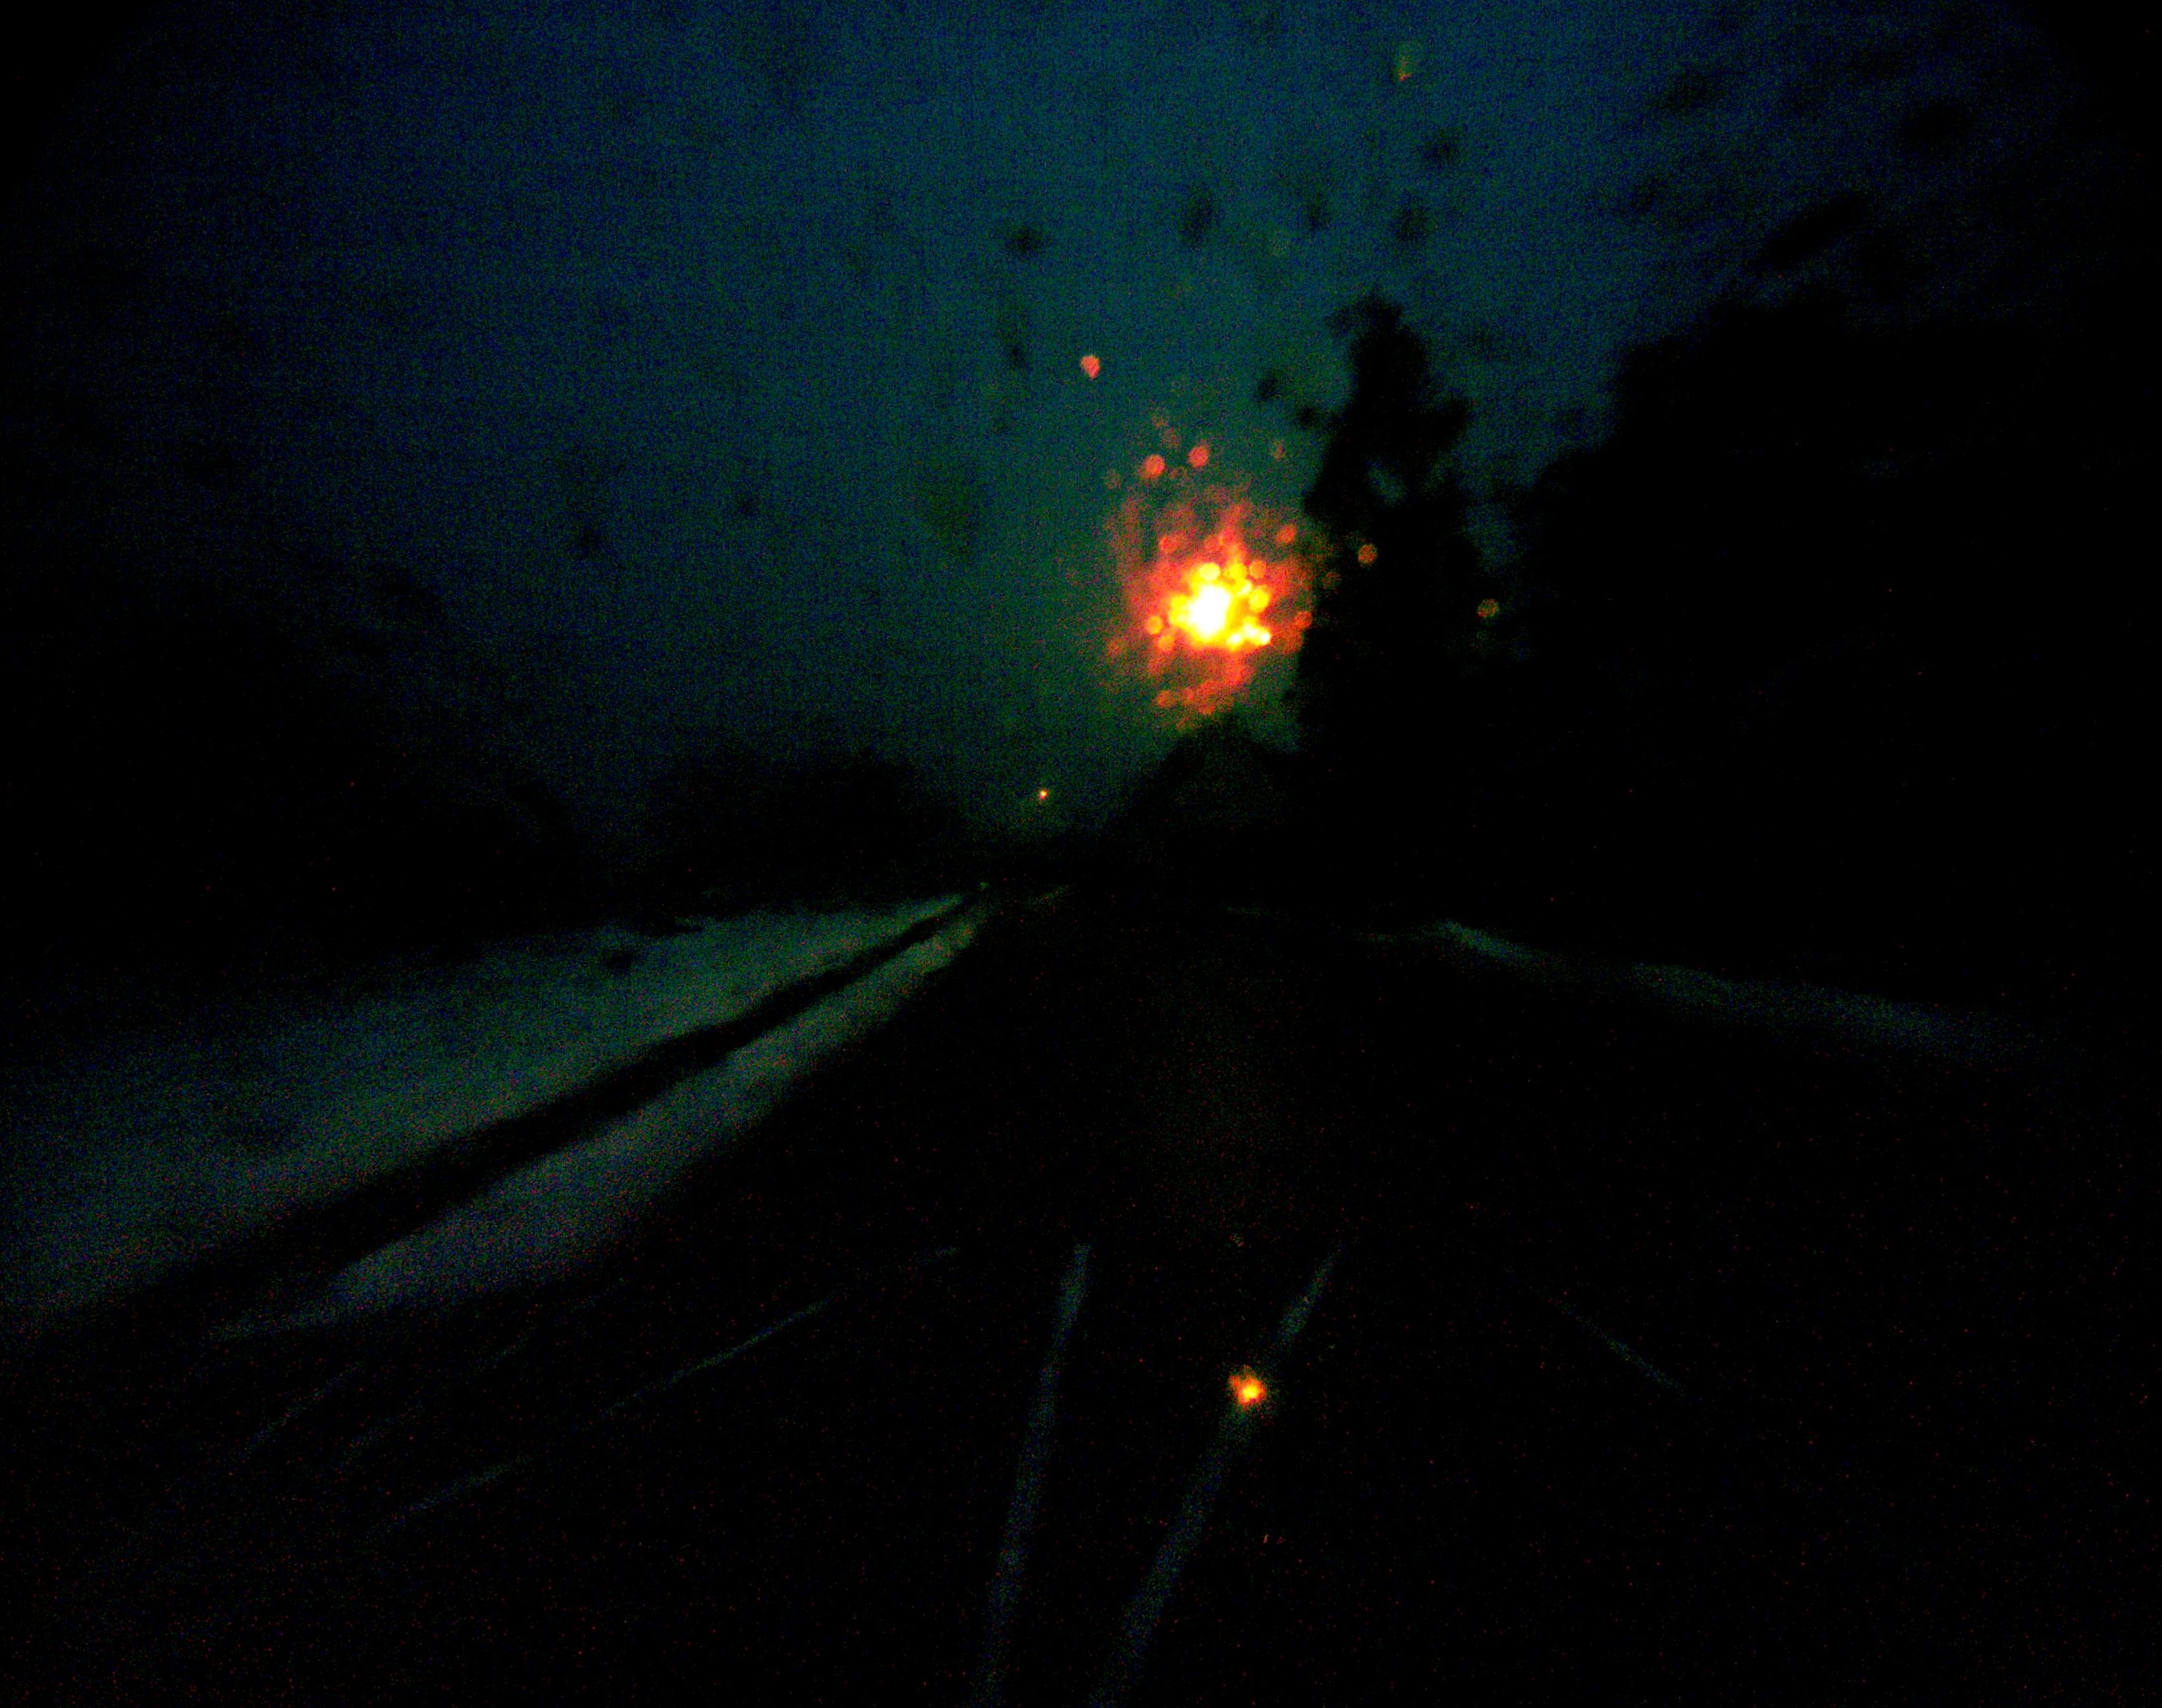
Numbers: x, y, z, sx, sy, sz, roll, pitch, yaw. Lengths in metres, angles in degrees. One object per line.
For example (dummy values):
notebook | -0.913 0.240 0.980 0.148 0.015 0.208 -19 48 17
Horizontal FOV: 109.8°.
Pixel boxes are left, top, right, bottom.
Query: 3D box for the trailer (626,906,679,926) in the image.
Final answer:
trailer | -23.620 3.391 41.981 1.851 0.940 3.658 0 -2 -18

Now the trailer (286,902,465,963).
trailer | -28.314 3.118 30.706 4.758 1.930 2.222 -4 -1 -13

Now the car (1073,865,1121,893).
car | 0.868 1.491 45.296 1.883 1.417 5.389 -3 -1 -9

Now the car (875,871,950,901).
car | -10.933 2.083 49.630 4.464 1.373 2.035 -6 -1 -8
